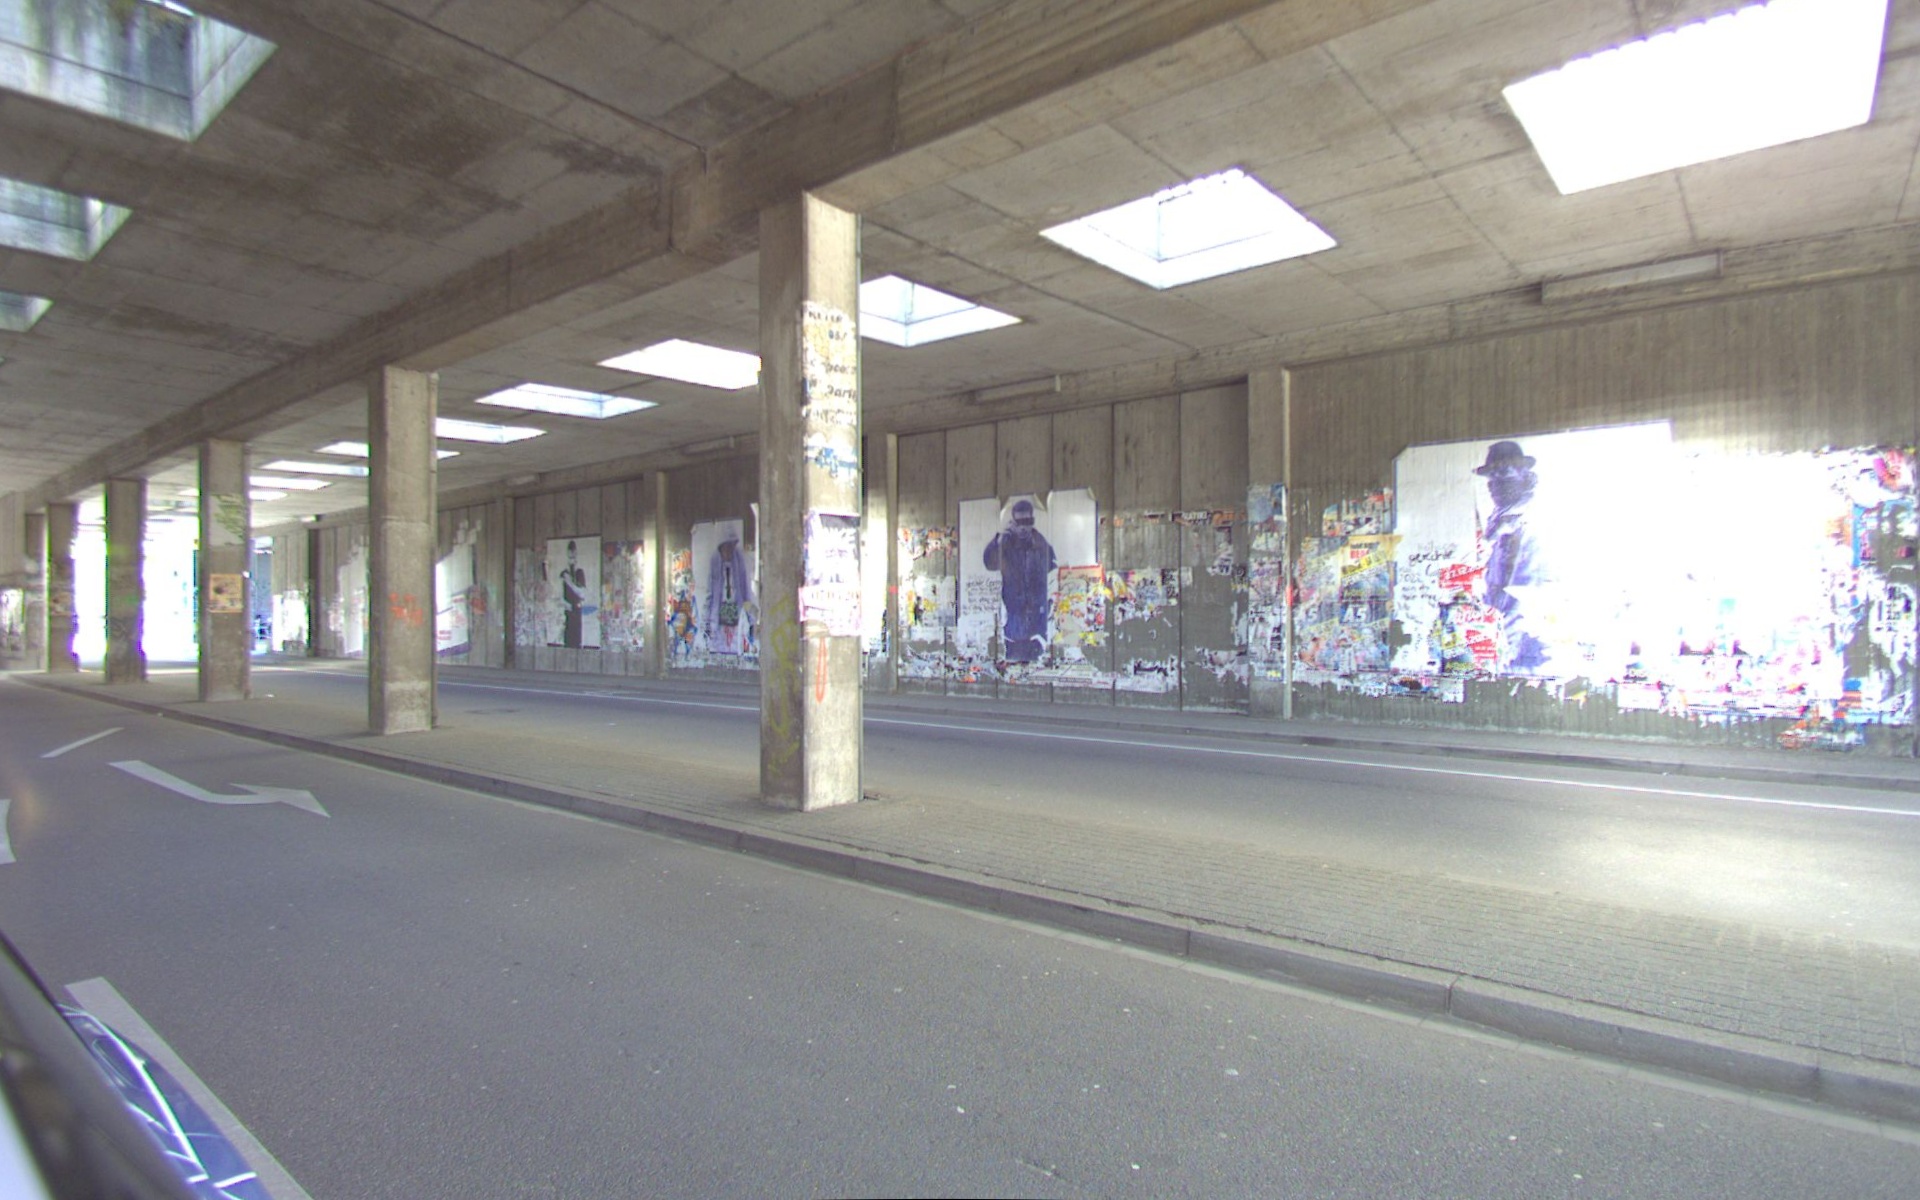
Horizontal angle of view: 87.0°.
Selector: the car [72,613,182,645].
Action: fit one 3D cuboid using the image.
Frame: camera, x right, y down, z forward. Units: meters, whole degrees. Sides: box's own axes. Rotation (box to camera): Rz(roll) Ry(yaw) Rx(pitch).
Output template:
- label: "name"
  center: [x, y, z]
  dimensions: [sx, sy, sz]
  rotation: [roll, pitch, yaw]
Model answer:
- label: "car"
  center: [-50.600, 1.708, 61.562]
  dimensions: [1.994, 1.763, 4.804]
  rotation: [-1, 0, 33]
